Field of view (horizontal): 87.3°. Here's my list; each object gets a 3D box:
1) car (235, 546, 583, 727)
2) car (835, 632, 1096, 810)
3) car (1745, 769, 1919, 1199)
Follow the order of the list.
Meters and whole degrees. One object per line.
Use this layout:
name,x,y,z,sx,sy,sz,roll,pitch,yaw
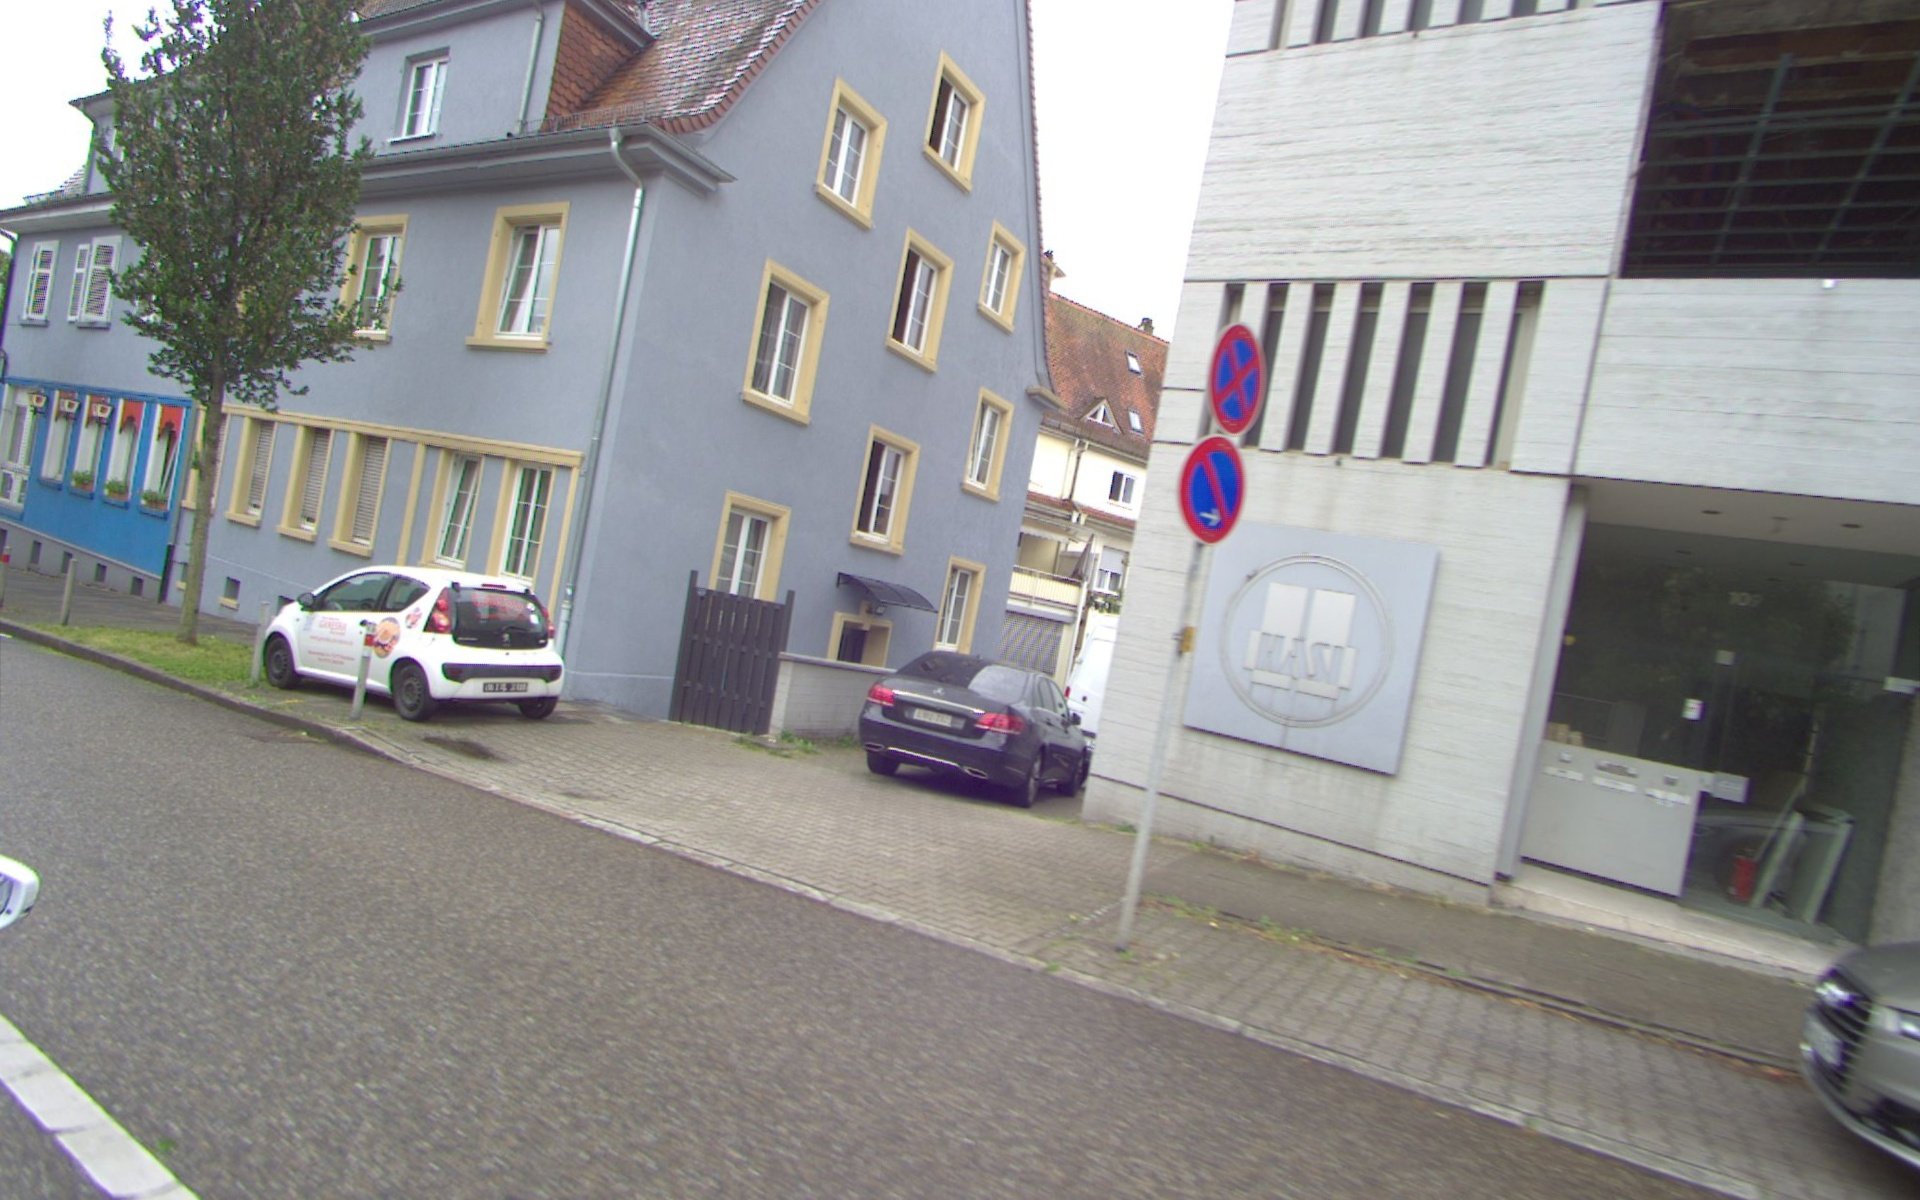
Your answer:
car,-5.979,0.359,10.882,3.396,1.429,1.590,7,-1,28
car,0.306,1.403,11.642,1.775,1.421,4.380,7,-5,16
car,5.579,1.723,3.067,4.661,1.476,1.819,7,-2,30
